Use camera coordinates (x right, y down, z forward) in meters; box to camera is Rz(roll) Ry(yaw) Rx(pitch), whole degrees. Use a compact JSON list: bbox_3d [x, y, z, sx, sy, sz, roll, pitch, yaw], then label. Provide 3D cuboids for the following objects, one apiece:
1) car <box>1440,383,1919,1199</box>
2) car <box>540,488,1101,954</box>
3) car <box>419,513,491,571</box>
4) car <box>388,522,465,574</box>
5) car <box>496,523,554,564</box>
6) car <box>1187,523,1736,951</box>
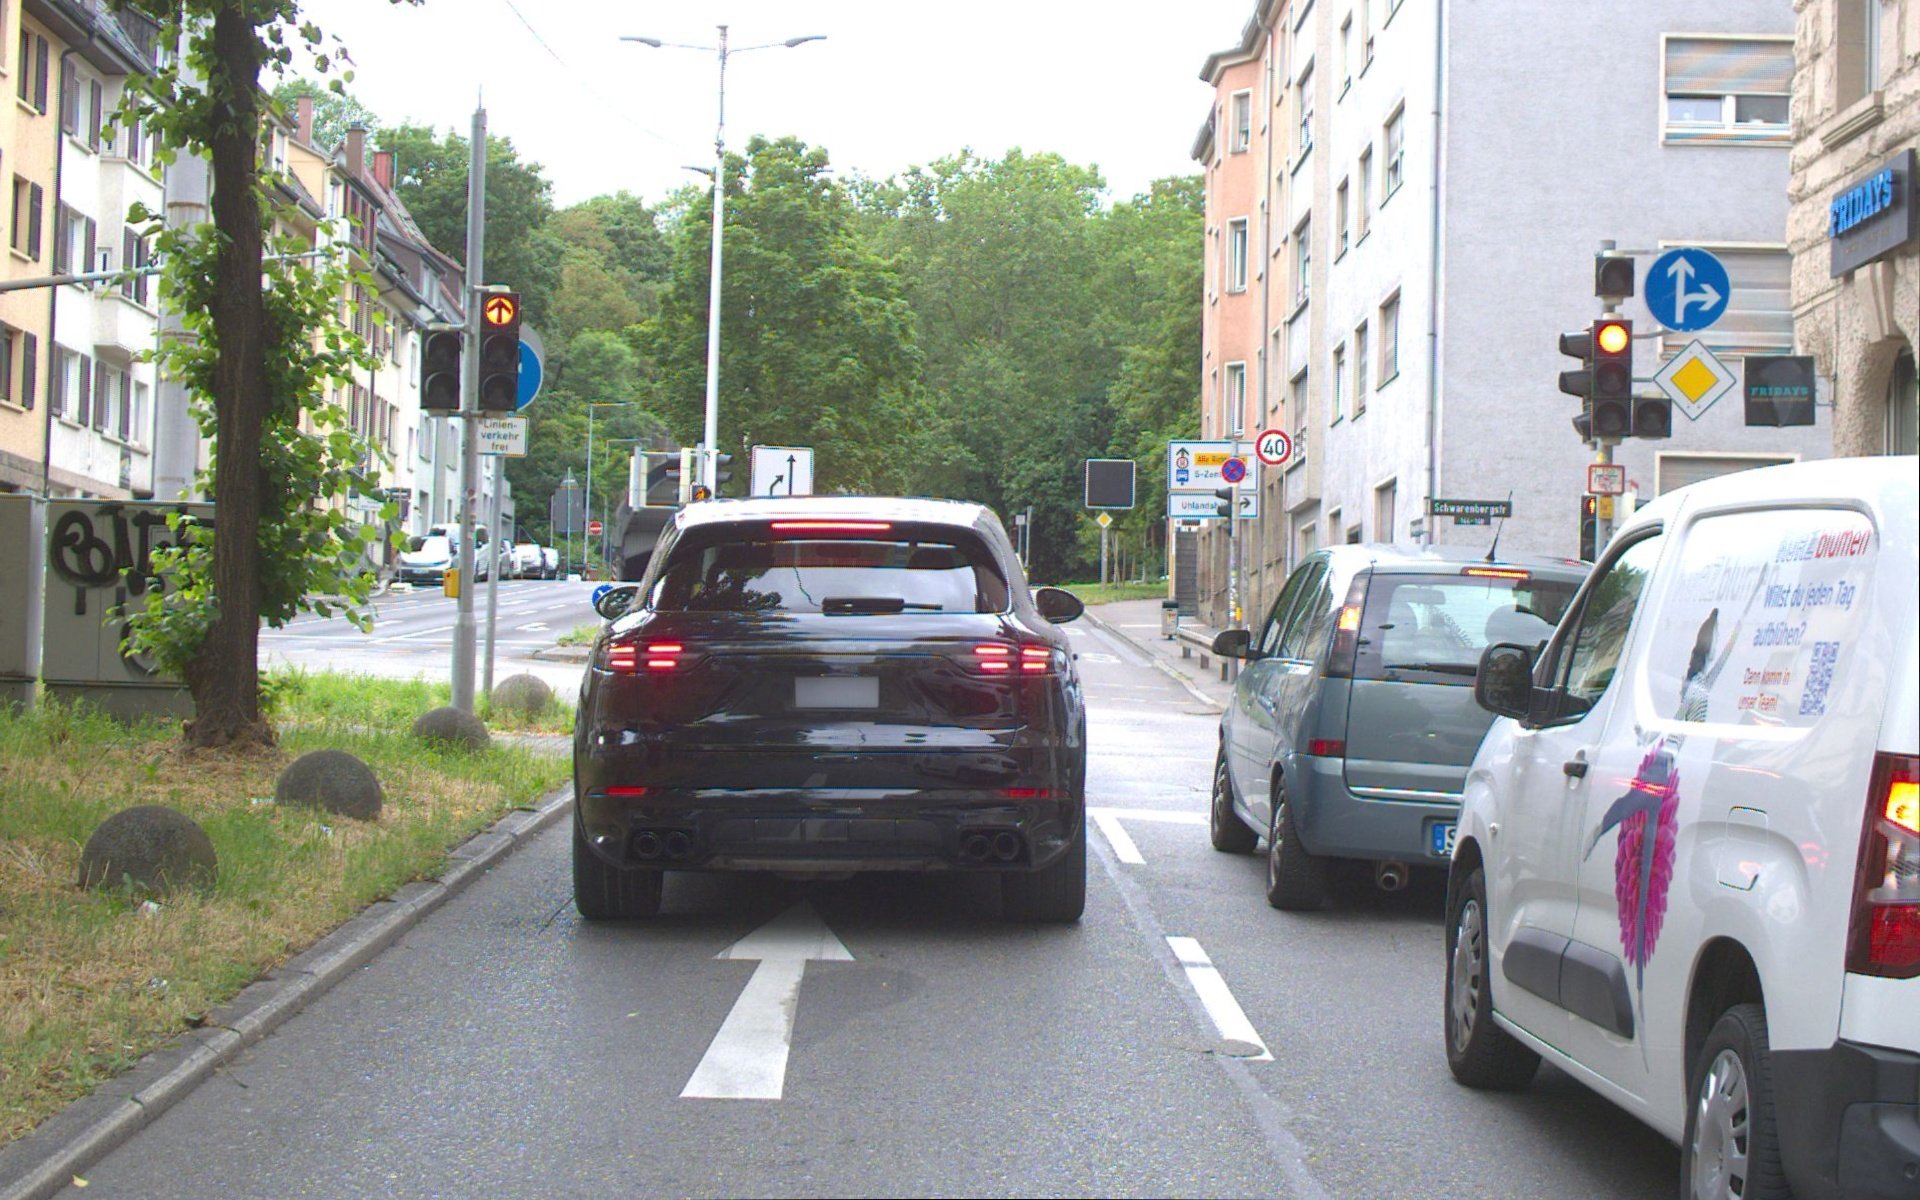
[{"bbox_3d":[2.362,0.588,8.592,1.850,1.819,5.020,3,0,4],"label":"car"},{"bbox_3d":[-0.484,0.383,14.377,1.994,1.647,4.000,1,1,1],"label":"car"},{"bbox_3d":[-16.320,-1.887,111.297,1.794,1.804,4.000,2,1,-2],"label":"car"},{"bbox_3d":[-16.470,-1.621,106.275,1.794,1.505,4.000,2,1,-2],"label":"car"},{"bbox_3d":[-16.805,-2.191,132.810,1.794,1.505,4.000,2,1,-2],"label":"car"},{"bbox_3d":[2.145,0.514,15.685,1.752,1.587,3.631,4,1,-2],"label":"car"}]
